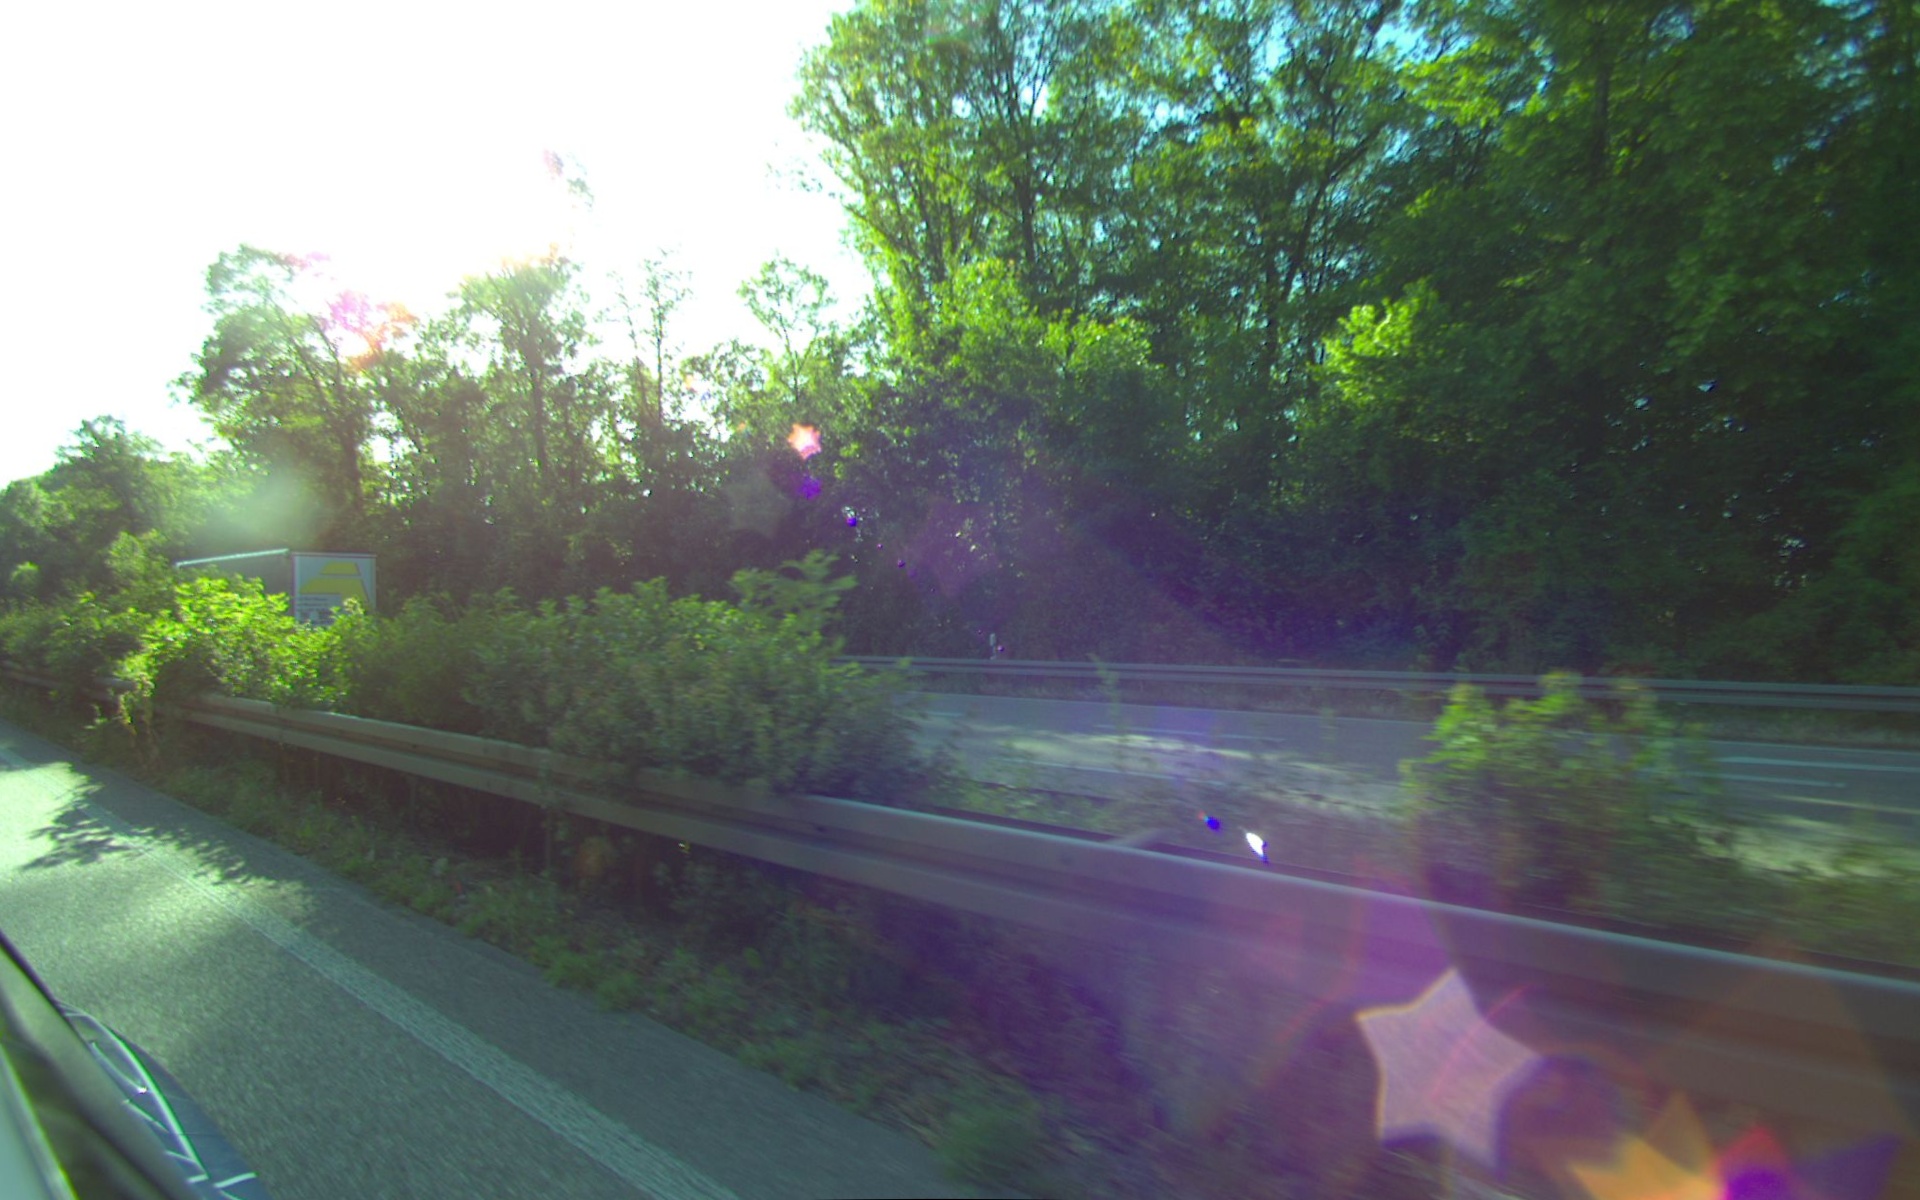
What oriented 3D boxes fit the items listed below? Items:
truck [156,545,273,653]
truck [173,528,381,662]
[{"bbox_3d":[-30.578,-0.011,41.454,5.433,4.127,2.688,-1,0,41],"label":"truck"},{"bbox_3d":[-25.195,-0.089,36.781,14.013,4.127,2.680,-1,0,41],"label":"truck"}]
